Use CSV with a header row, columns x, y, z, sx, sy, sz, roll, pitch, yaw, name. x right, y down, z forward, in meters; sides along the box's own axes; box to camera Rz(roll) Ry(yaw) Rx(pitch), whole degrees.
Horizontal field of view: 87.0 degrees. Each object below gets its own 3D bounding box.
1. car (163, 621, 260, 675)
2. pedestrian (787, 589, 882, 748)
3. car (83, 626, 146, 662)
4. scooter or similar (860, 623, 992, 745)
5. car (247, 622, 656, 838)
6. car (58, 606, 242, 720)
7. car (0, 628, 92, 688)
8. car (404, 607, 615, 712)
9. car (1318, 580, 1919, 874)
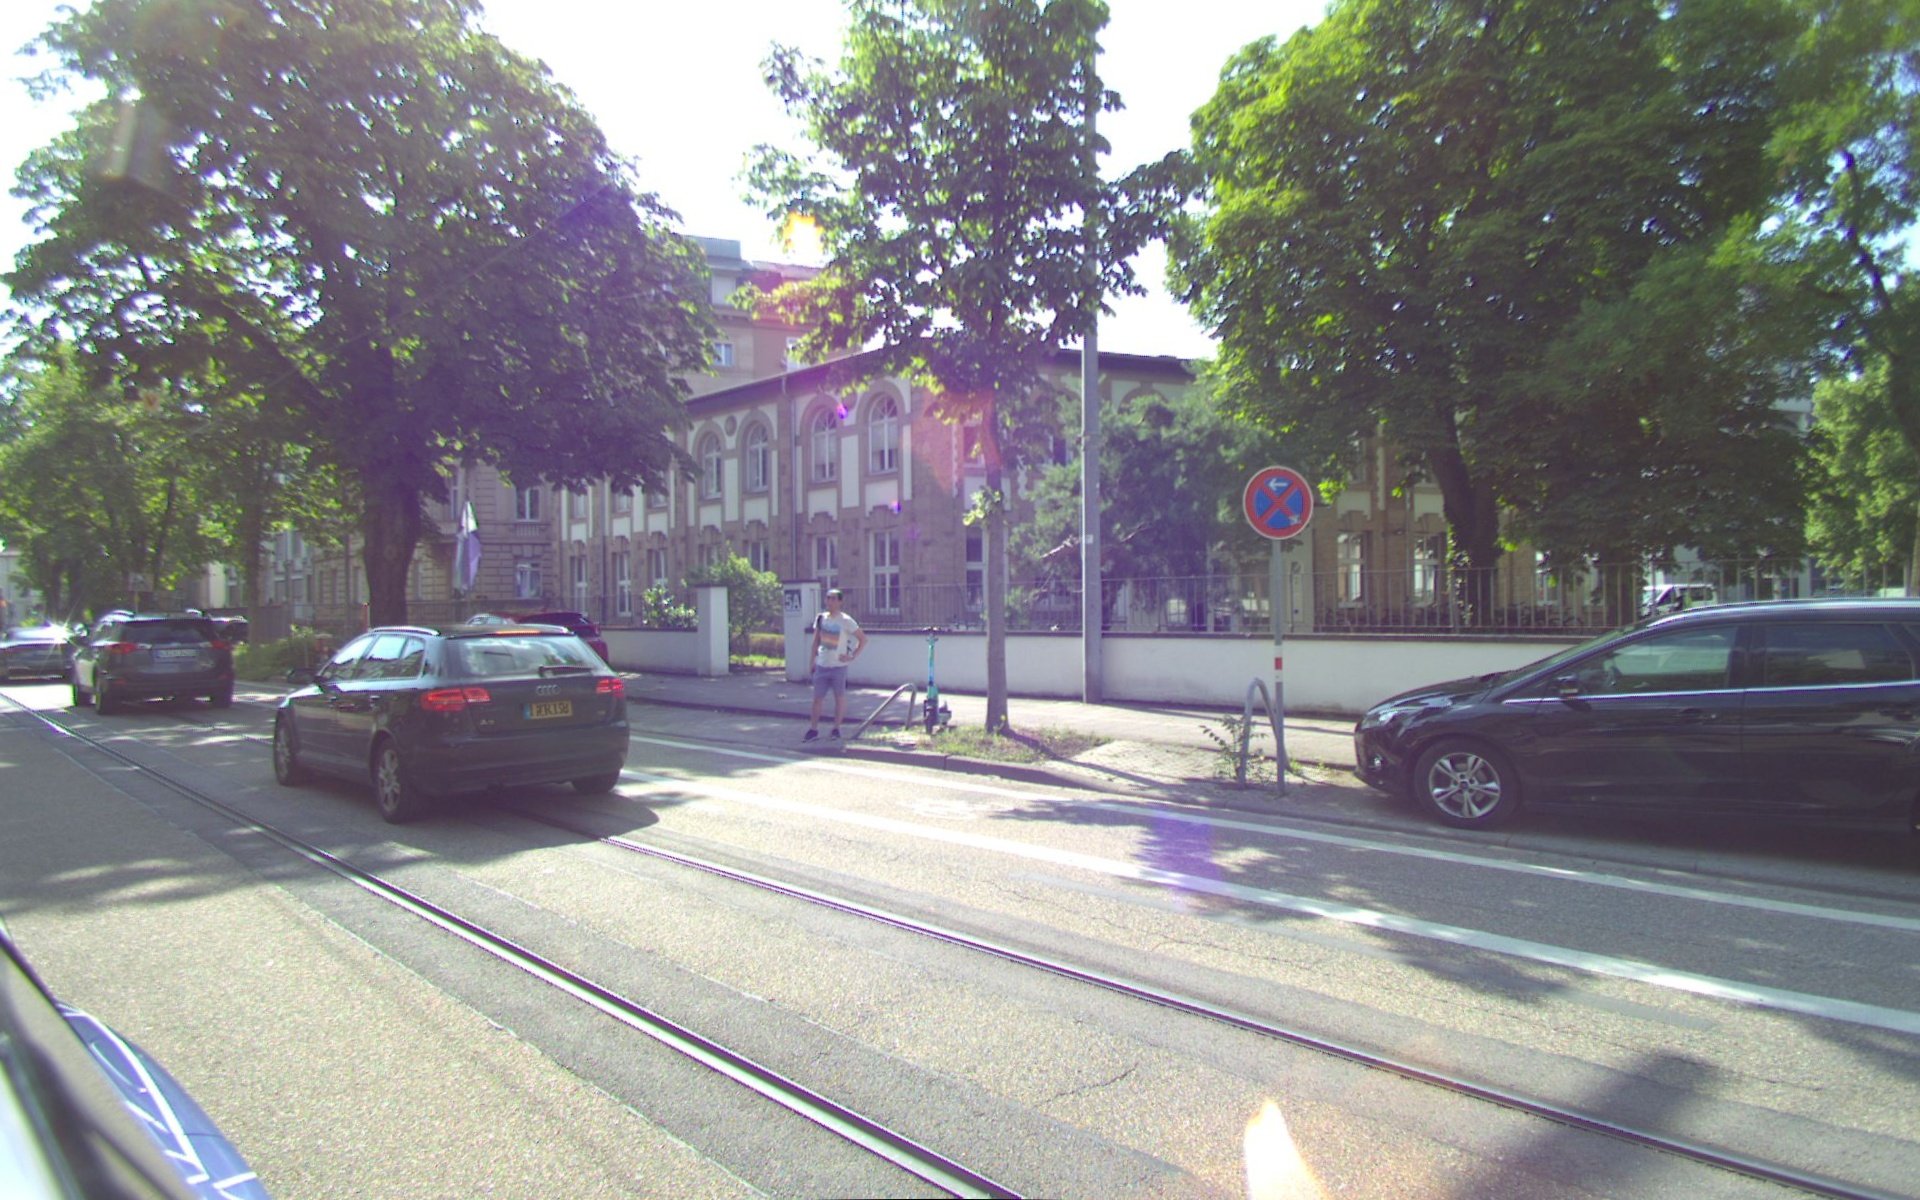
x,y,z,sx,sy,sz,roll,pitch,yaw,name
-25.559,1.582,34.506,4.330,1.653,1.788,-1,1,41,car
-1.477,0.773,11.932,0.750,1.780,0.782,-1,1,33,pedestrian
-39.183,1.997,46.893,3.807,1.496,1.637,-1,1,41,car
-0.383,0.940,11.898,0.854,1.289,1.325,-1,1,40,scooter or similar
-4.412,0.884,8.519,3.998,1.386,1.705,-1,-1,41,car
-14.136,1.014,17.572,4.390,1.740,1.806,-2,-2,42,car
-23.678,1.422,25.815,4.424,1.399,1.780,-2,-2,42,car
-8.459,1.010,18.792,4.718,1.678,1.732,-1,1,41,car
4.918,0.668,6.547,4.587,1.527,1.732,-1,1,39,car
